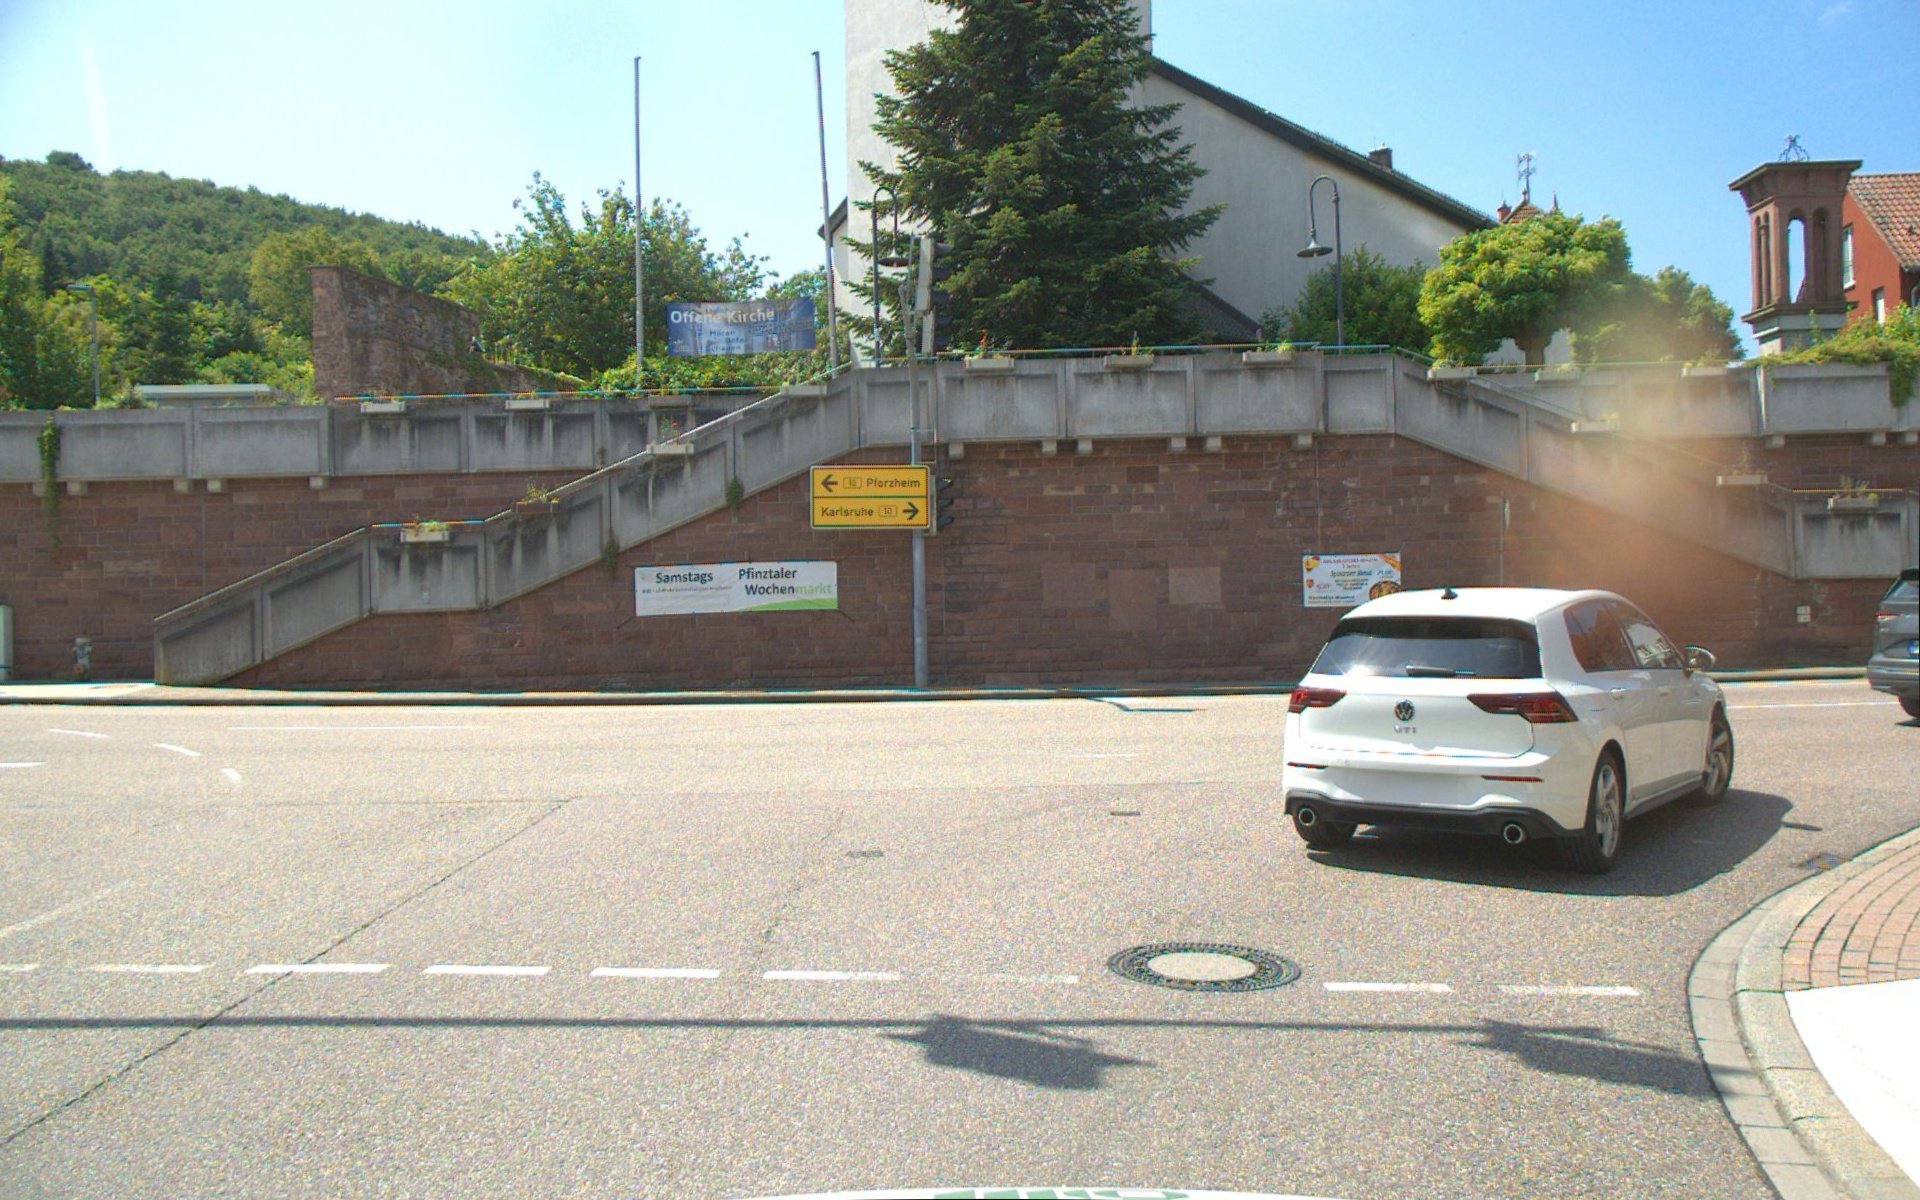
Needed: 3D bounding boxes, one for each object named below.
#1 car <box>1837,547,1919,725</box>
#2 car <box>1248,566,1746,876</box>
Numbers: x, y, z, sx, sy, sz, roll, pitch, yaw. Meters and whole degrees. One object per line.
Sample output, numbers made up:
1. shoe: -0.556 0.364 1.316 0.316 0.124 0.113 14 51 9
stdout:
1. car: 10.715 0.254 15.642 4.248 1.610 1.944 -2 1 -20
2. car: 3.398 0.576 9.984 1.753 1.484 3.848 -2 0 36
